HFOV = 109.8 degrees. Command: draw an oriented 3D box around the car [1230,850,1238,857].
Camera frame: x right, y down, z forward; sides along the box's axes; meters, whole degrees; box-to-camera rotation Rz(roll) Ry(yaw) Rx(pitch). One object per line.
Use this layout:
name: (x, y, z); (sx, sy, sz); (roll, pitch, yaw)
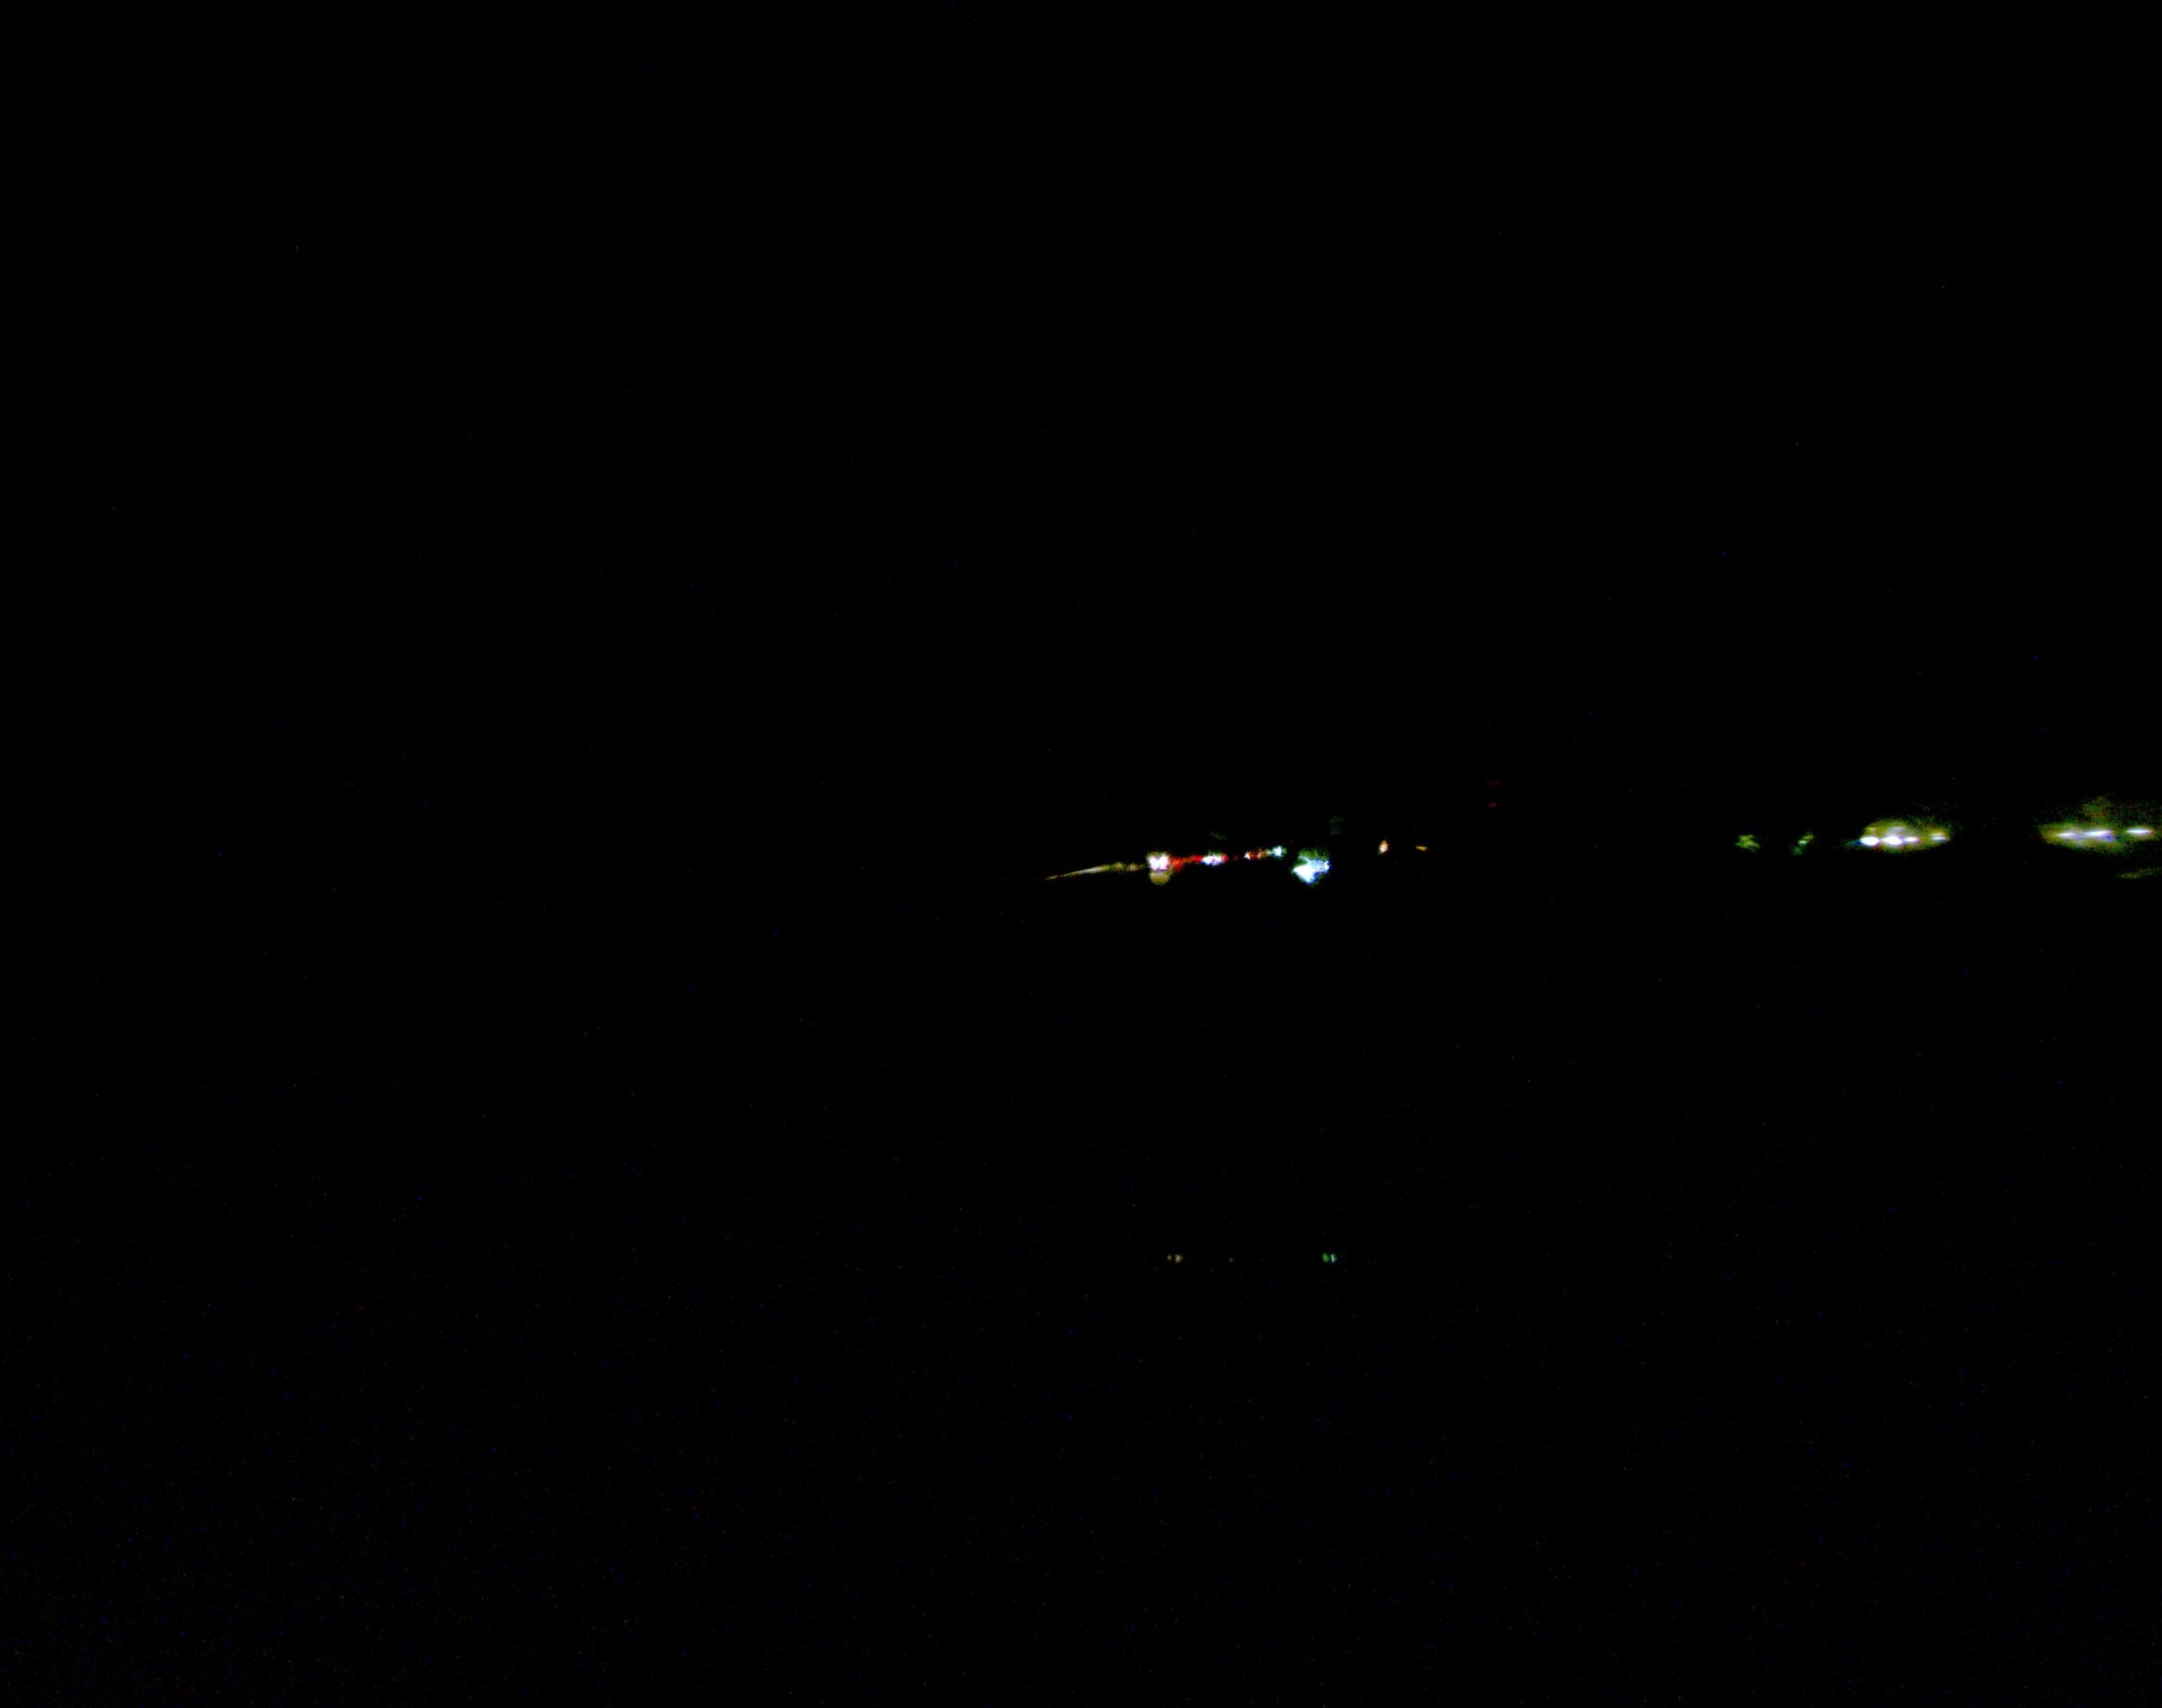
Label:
car: (43.934, -0.088, 218.449); (1.790, 1.615, 4.378); (-1, 5, 18)

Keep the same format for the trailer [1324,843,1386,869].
trailer: (56.326, 0.375, 156.258); (11.555, 4.768, 3.335); (-2, 1, -9)

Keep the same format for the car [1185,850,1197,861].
car: (20.765, 0.269, 143.525); (1.997, 2.063, 4.003); (-2, 0, 12)

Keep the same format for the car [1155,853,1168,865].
car: (13.706, 0.849, 129.262); (1.997, 2.002, 4.003); (-2, 0, 10)

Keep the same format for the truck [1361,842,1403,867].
truck: (62.186, 0.123, 157.123); (7.319, 4.768, 3.335); (-2, 1, -9)

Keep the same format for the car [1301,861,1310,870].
car: (50.040, 2.520, 169.468); (1.810, 1.666, 4.298); (-2, 0, 18)

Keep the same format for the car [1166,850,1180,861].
car: (13.932, 0.258, 115.428); (1.997, 1.604, 4.614); (-2, 0, 8)

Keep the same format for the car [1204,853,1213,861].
car: (29.252, 0.630, 174.018); (1.690, 1.671, 3.471); (-2, 0, 15)

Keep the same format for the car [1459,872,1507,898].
car: (34.950, 2.644, 66.202); (1.998, 2.002, 4.000); (-2, 0, 1)

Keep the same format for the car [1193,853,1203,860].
car: (24.387, 0.537, 158.421); (1.802, 1.511, 4.539); (-1, 0, 12)
